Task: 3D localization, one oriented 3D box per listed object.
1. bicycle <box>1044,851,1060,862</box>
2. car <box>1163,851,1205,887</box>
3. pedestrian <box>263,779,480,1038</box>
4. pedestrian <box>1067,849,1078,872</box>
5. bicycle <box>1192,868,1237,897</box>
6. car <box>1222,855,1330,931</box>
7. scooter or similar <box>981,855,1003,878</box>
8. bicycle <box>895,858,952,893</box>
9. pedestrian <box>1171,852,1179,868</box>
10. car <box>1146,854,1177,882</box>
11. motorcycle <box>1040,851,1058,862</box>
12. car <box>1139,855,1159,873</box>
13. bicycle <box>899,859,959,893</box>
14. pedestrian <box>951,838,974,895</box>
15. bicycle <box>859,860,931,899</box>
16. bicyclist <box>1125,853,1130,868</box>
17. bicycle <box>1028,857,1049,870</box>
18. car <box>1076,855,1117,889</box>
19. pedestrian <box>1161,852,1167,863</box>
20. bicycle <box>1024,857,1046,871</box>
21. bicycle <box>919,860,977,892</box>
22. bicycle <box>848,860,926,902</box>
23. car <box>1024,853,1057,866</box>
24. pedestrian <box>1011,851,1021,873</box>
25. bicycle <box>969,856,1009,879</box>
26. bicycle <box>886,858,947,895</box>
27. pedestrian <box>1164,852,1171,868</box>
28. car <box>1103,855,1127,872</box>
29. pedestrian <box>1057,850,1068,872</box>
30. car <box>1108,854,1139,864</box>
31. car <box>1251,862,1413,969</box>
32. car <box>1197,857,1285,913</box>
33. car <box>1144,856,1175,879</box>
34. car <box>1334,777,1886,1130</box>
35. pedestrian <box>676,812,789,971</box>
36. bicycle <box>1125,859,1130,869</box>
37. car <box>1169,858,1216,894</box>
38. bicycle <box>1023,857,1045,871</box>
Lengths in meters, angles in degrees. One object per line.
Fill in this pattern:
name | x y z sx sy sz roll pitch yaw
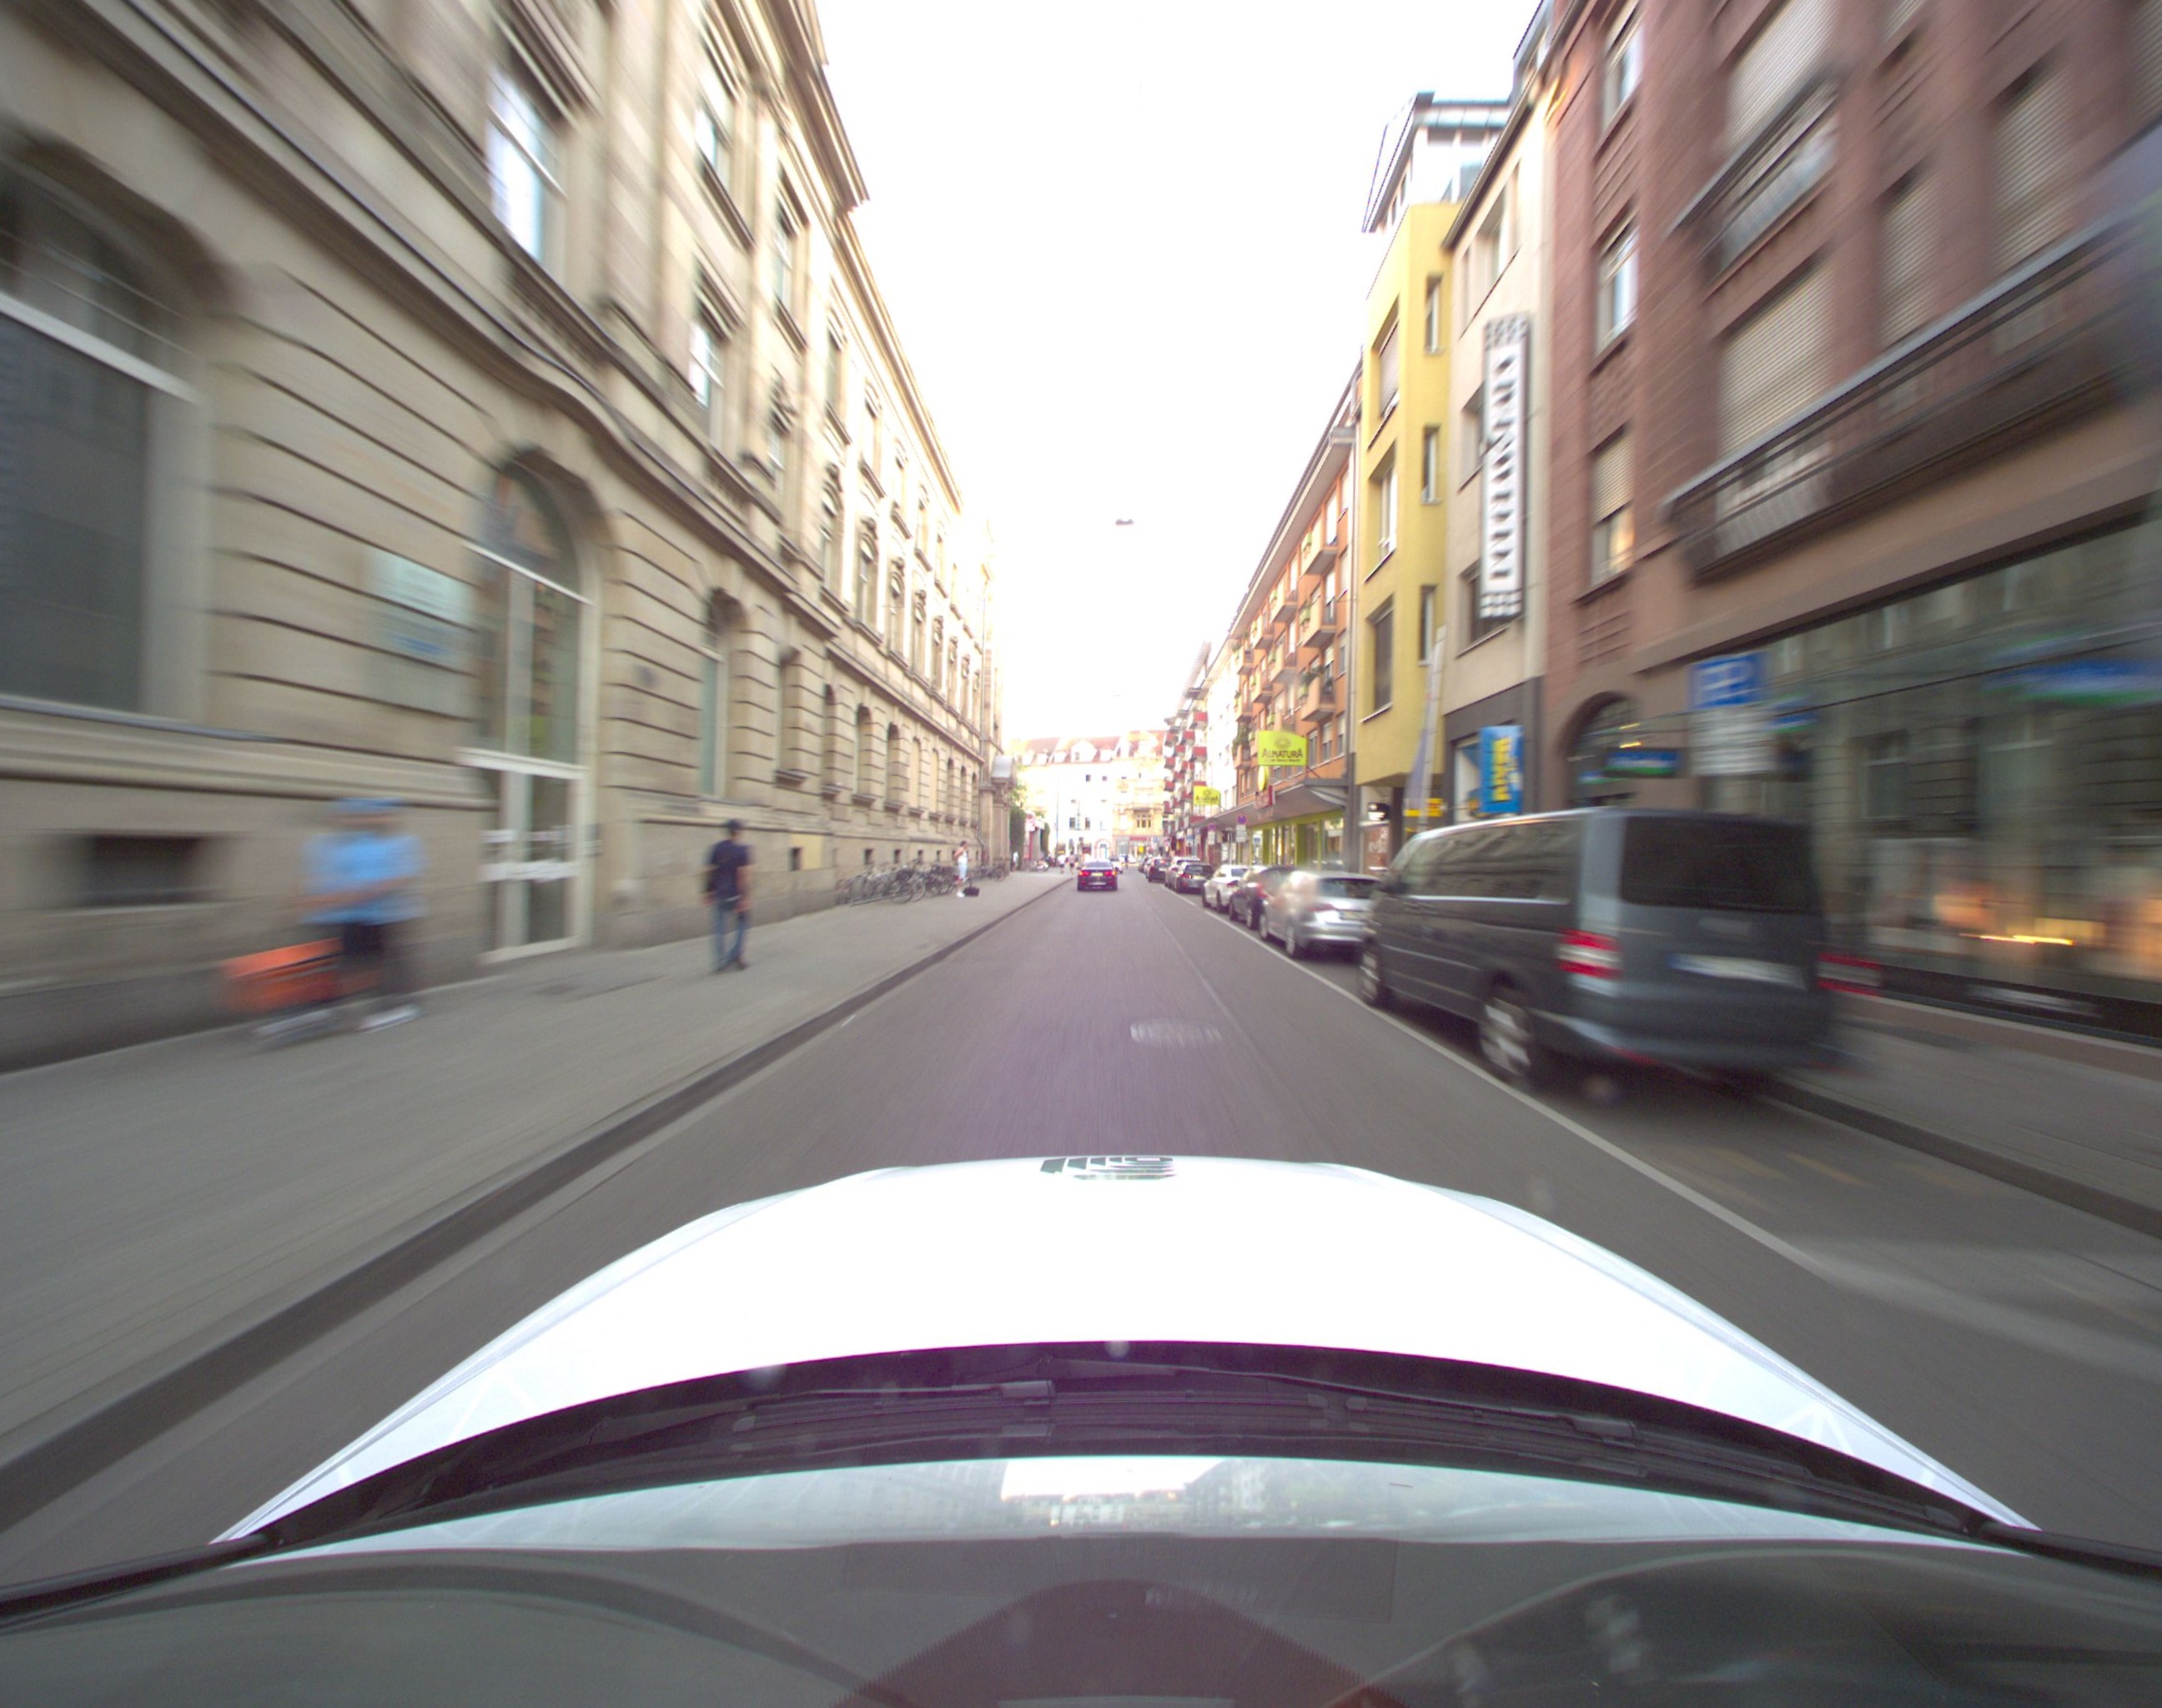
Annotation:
bicycle | -3.196 0.274 90.343 1.790 1.107 0.499 2 0 -3
car | 5.341 0.747 42.624 1.745 1.668 4.760 3 0 3
pedestrian | -5.190 0.372 6.015 0.825 1.746 0.769 3 0 2
pedestrian | -0.703 0.520 68.322 0.741 1.893 1.051 2 0 3
bicycle | 5.056 1.086 30.803 1.746 1.055 0.652 2 0 -40
car | 4.555 0.844 19.632 1.612 1.516 4.174 3 0 1
scooter or similar | -4.976 0.683 45.636 1.133 1.232 0.495 2 0 -10
bicycle | -5.232 0.718 27.117 1.790 1.107 0.499 2 -1 -4
pedestrian | 9.577 0.599 83.041 0.645 1.661 0.794 -2 0 4
car | 5.193 0.828 51.883 1.785 1.609 4.495 3 0 7
motorcycle | -3.443 0.284 87.570 1.783 1.064 0.769 2 0 27
car | 6.738 0.951 81.355 1.758 1.642 4.793 3 0 2
bicycle | -5.194 0.751 27.931 1.933 1.061 0.619 2 -1 -4
pedestrian | -3.938 0.407 27.109 0.586 1.851 0.753 3 0 -4
bicycle | -5.401 0.735 23.699 1.933 1.061 0.619 2 -1 -4
bicyclist | 5.422 0.738 94.324 0.521 1.756 0.620 1 0 3
bicycle | -3.808 0.805 72.781 1.786 1.107 0.501 2 0 5
car | 0.781 0.786 37.840 1.758 1.375 4.794 2 0 3
pedestrian | 9.690 0.388 94.985 0.682 1.286 0.610 -1 -1 11
bicycle | -3.961 0.853 70.261 1.787 1.107 0.500 1 0 2
bicycle | -4.724 0.781 28.961 1.931 1.061 0.619 2 -1 0
bicycle | -5.331 0.744 22.448 1.930 1.061 0.620 2 -1 1
car | -4.991 0.678 99.870 3.982 1.501 1.887 0 0 -6
pedestrian | -5.359 0.663 67.414 0.714 1.754 0.848 1 0 1
bicycle | -4.728 0.683 41.837 1.939 1.061 0.617 4 -1 -13
bicycle | -5.226 0.706 25.916 1.791 1.107 0.499 2 -1 -4
pedestrian | 8.814 0.594 83.058 0.645 1.661 0.656 -2 0 4
car | 3.062 0.817 73.018 1.868 1.473 4.007 0 0 6
pedestrian | -1.527 0.562 67.948 0.738 1.812 1.009 3 0 2
car | 6.577 0.760 125.421 4.312 1.562 1.879 0 -1 24
car | 4.248 0.945 14.522 1.679 1.453 4.502 3 0 3
car | 4.750 0.867 24.803 1.686 1.411 4.638 3 0 -1
car | 5.491 0.939 57.256 1.731 1.415 4.682 3 0 1
car | 3.976 0.614 7.435 1.840 2.058 5.056 2 0 2
pedestrian | -4.074 0.425 9.597 0.806 1.750 0.970 2 -1 2
bicycle | 5.411 1.185 94.344 0.534 1.107 1.801 1 0 3
car | 5.106 0.973 37.657 1.684 1.414 4.760 3 0 3
bicycle | -4.076 0.854 70.610 1.788 1.107 0.500 1 0 0
